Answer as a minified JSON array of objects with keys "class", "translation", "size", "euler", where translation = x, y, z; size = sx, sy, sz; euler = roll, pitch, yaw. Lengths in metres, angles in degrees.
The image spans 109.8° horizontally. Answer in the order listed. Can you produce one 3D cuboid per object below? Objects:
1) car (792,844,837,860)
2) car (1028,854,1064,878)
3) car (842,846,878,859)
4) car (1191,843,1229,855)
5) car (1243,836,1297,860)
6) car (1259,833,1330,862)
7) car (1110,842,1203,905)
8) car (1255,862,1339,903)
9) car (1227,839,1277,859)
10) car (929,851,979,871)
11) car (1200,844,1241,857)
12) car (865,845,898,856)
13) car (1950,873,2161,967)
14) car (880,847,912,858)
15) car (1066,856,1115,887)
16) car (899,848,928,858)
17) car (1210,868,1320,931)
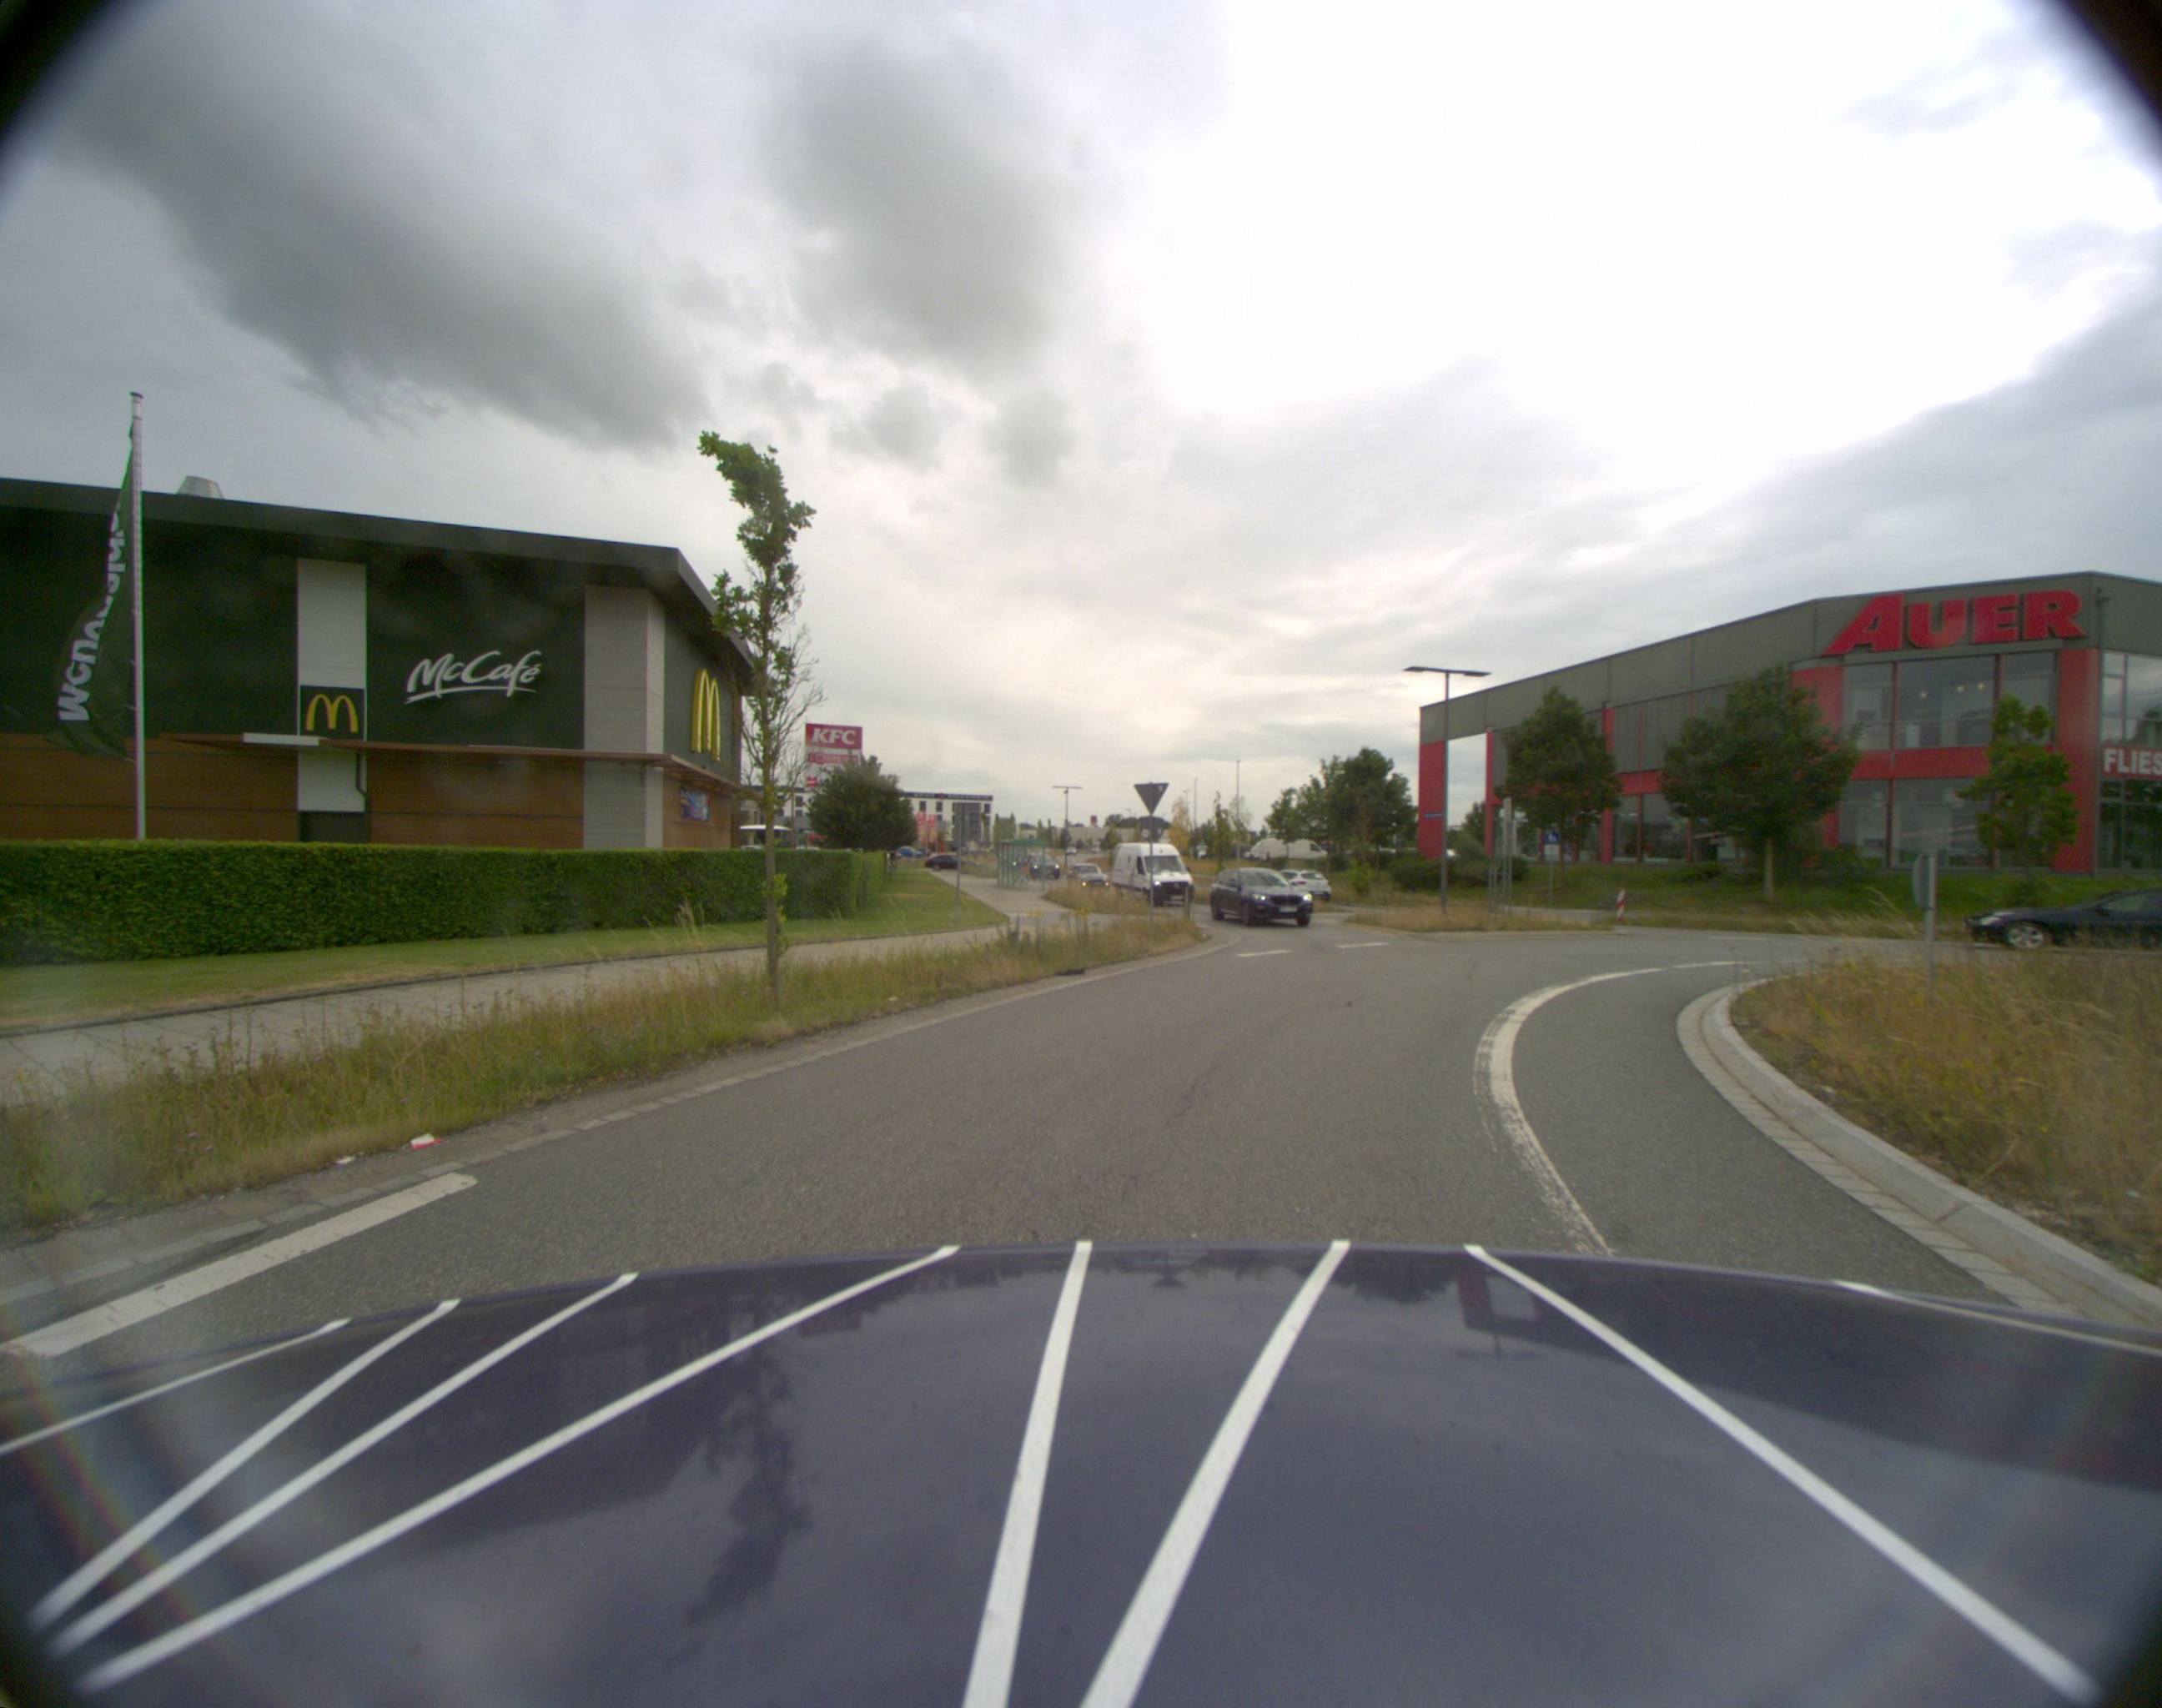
[{"class":"car","translation":[-25.749,-0.206,73.406],"size":[4.003,1.478,1.844],"euler":[-2,2,-18]},{"class":"car","translation":[-2.598,0.831,54.892],"size":[1.869,1.598,3.994],"euler":[0,1,-13]},{"class":"car","translation":[-26.747,-0.220,92.064],"size":[3.999,1.513,1.846],"euler":[0,1,-6]},{"class":"car","translation":[18.567,-0.707,109.335],"size":[5.056,1.647,2.063],"euler":[1,1,-5]},{"class":"car","translation":[19.496,-0.629,78.552],"size":[5.059,2.360,2.061],"euler":[-1,2,-14]},{"class":"car","translation":[20.664,-0.627,73.592],"size":[6.421,2.609,2.062],"euler":[-1,2,-11]},{"class":"car","translation":[3.170,0.738,33.644],"size":[2.029,2.513,6.095],"euler":[0,1,-15]},{"class":"car","translation":[10.024,1.289,35.606],"size":[1.735,1.549,4.078],"euler":[5,0,-17]},{"class":"car","translation":[19.378,-0.622,86.257],"size":[5.057,2.211,2.063],"euler":[0,1,-7]},{"class":"car","translation":[-10.435,0.530,62.449],"size":[4.001,1.478,1.845],"euler":[-1,2,-11]},{"class":"car","translation":[18.693,-0.480,101.739],"size":[5.056,1.647,2.063],"euler":[1,1,-5]},{"class":"car","translation":[-26.644,-0.443,101.486],"size":[3.998,1.477,1.846],"euler":[1,1,-2]},{"class":"car","translation":[21.070,1.319,15.478],"size":[2.004,1.599,4.284],"euler":[-3,3,-44]},{"class":"car","translation":[-26.066,-0.196,107.098],"size":[3.998,1.477,1.846],"euler":[1,1,-2]},{"class":"car","translation":[0.475,0.960,42.923],"size":[1.869,1.598,3.994],"euler":[0,1,-13]},{"class":"car","translation":[-25.689,-0.144,116.664],"size":[3.996,1.478,1.847],"euler":[-1,2,2]},{"class":"car","translation":[5.409,1.292,22.865],"size":[1.868,1.598,3.996],"euler":[0,1,-8]}]
